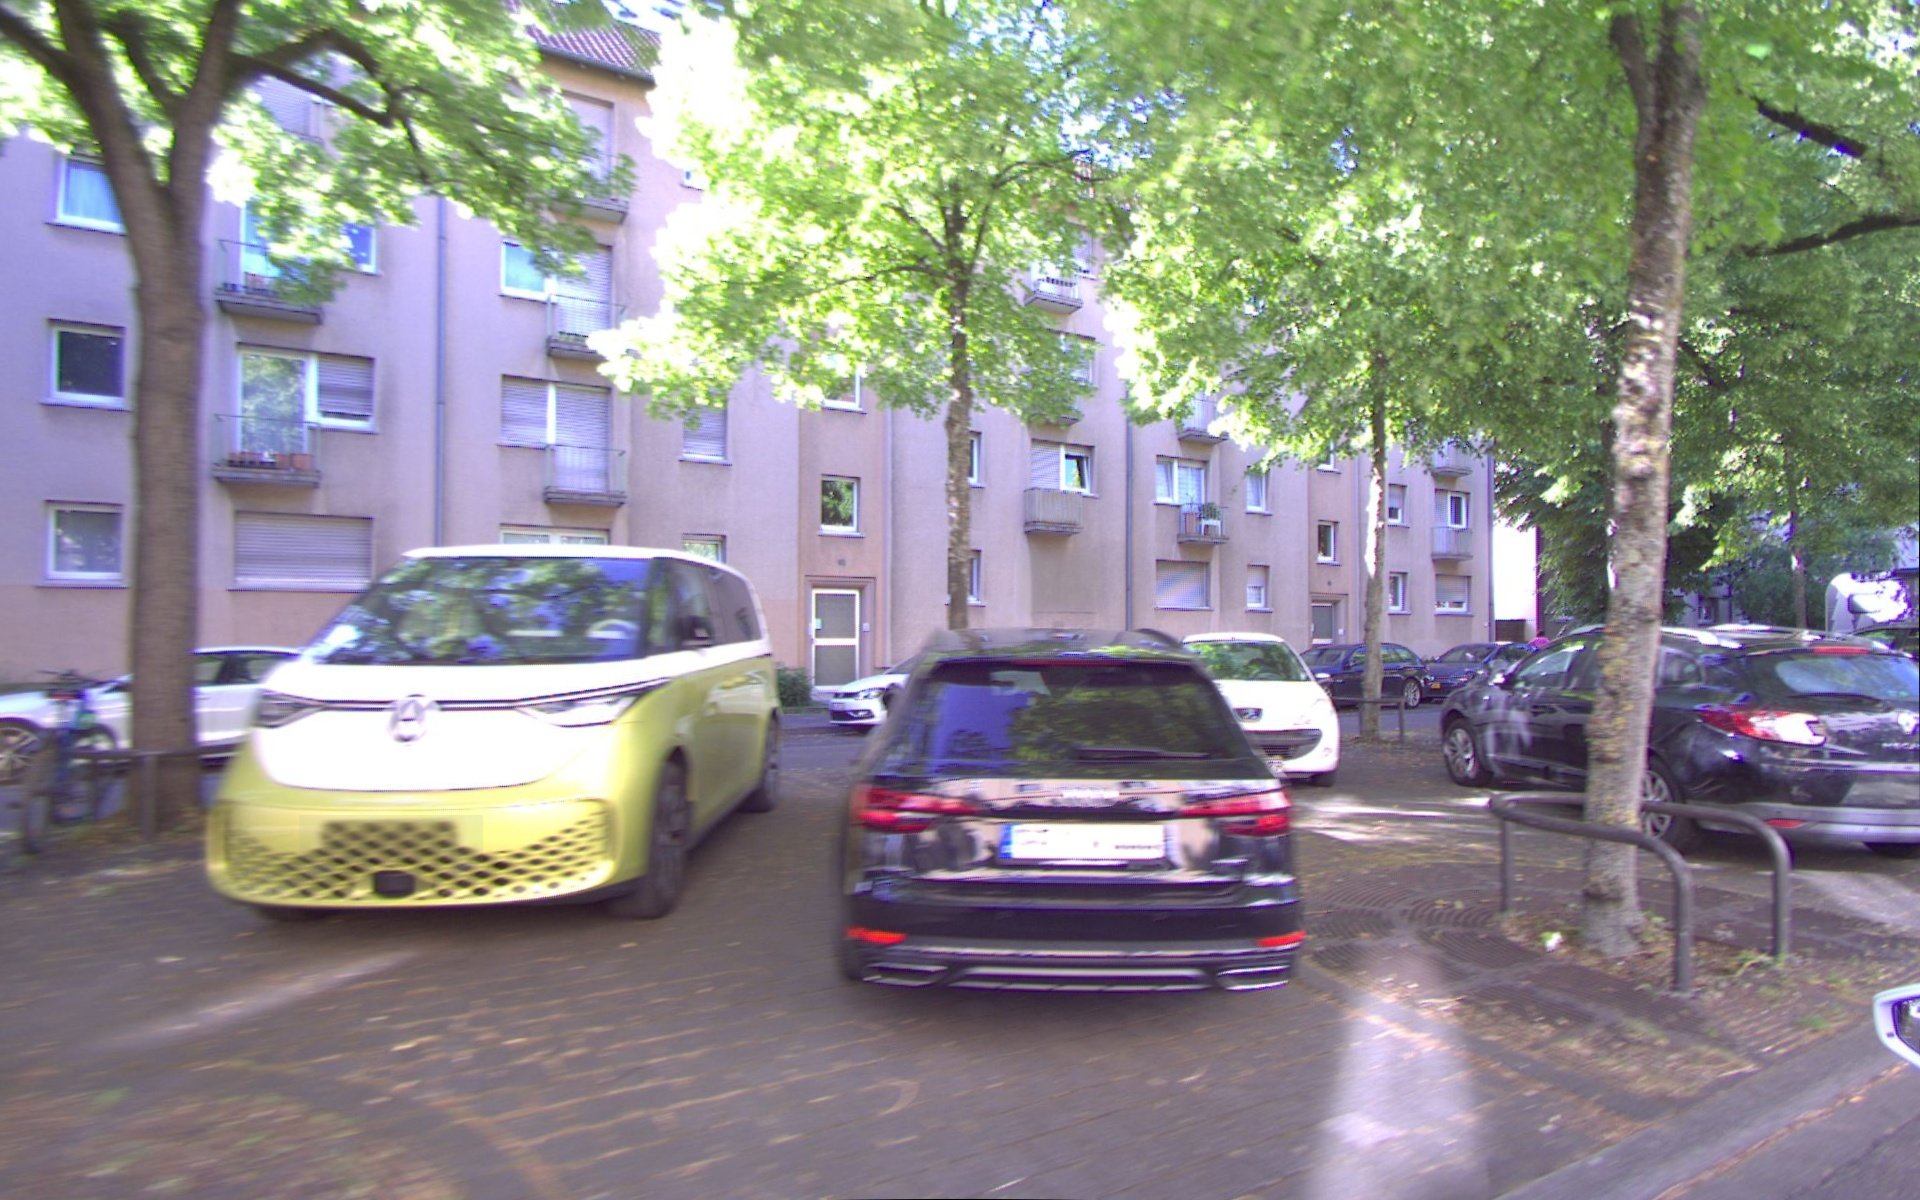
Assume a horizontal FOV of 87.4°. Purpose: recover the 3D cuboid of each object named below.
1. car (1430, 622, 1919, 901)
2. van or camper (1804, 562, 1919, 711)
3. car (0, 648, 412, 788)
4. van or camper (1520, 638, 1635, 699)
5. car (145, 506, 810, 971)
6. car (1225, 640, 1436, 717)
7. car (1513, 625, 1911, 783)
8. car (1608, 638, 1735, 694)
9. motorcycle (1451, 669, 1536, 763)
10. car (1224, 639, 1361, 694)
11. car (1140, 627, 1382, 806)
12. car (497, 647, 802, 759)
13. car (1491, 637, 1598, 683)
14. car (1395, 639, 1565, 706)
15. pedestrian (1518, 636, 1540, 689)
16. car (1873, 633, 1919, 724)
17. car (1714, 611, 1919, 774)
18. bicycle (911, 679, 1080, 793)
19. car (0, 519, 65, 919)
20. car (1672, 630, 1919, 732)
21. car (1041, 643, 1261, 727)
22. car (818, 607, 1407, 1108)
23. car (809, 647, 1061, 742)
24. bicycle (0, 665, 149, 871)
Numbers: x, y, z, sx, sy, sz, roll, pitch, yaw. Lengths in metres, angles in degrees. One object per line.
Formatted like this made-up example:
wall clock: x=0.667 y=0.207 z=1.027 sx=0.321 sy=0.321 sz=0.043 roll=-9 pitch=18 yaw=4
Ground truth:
car: x=5.347 y=0.937 z=7.599 sx=1.682 sy=1.481 sz=4.426 roll=1 pitch=-2 yaw=3
van or camper: x=20.320 y=0.681 z=19.052 sx=2.269 sy=2.968 sz=7.248 roll=0 pitch=-2 yaw=-3
car: x=-9.097 y=1.290 z=11.823 sx=4.566 sy=1.411 sz=1.719 roll=1 pitch=-3 yaw=-32
van or camper: x=16.899 y=1.842 z=27.488 sx=2.665 sy=1.575 sz=1.589 roll=1 pitch=-2 yaw=-30
car: x=-2.280 y=0.657 z=6.366 sx=1.979 sy=1.856 sz=4.607 roll=1 pitch=-2 yaw=0
car: x=8.188 y=1.659 z=22.137 sx=4.480 sy=1.528 sz=1.984 roll=1 pitch=-2 yaw=-30
car: x=8.454 y=1.068 z=11.842 sx=1.787 sy=1.421 sz=4.044 roll=1 pitch=0 yaw=3
car: x=20.896 y=1.895 z=29.489 sx=3.725 sy=1.519 sz=1.656 roll=1 pitch=-2 yaw=-30
motorcycle: x=6.393 y=1.352 z=12.117 sx=0.676 sy=0.969 sz=1.919 roll=0 pitch=-2 yaw=21
car: x=9.111 y=1.782 z=27.485 sx=3.569 sy=1.405 sz=1.617 roll=1 pitch=-2 yaw=-30
car: x=2.836 y=1.027 z=10.247 sx=1.781 sy=1.474 sz=3.636 roll=0 pitch=-2 yaw=7
car: x=-4.504 y=1.405 z=14.684 sx=3.953 sy=1.405 sz=1.883 roll=1 pitch=-3 yaw=-30
car: x=20.085 y=2.029 z=34.491 sx=3.569 sy=1.501 sz=1.617 roll=1 pitch=-2 yaw=-30
car: x=12.945 y=1.742 z=24.966 sx=4.258 sy=1.528 sz=1.755 roll=1 pitch=-2 yaw=-30
pedestrian: x=20.352 y=2.227 z=35.919 sx=0.457 sy=1.850 sz=0.497 roll=1 pitch=-2 yaw=-30
car: x=17.070 y=1.283 z=15.802 sx=1.723 sy=1.527 sz=4.000 roll=0 pitch=-2 yaw=-1
car: x=10.841 y=0.988 z=11.186 sx=1.725 sy=1.701 sz=4.147 roll=0 pitch=-2 yaw=-1
bicycle: x=0.379 y=1.291 z=9.805 sx=1.750 sy=0.953 sz=0.433 roll=1 pitch=0 yaw=-36
car: x=-5.396 y=0.508 z=2.741 sx=2.041 sy=1.889 sz=4.521 roll=1 pitch=-1 yaw=-4
car: x=13.999 y=1.289 z=16.866 sx=1.722 sy=1.527 sz=3.546 roll=0 pitch=-2 yaw=4
car: x=3.728 y=1.568 z=19.486 sx=3.953 sy=1.436 sz=1.883 roll=1 pitch=-2 yaw=-30
car: x=0.536 y=0.832 z=5.261 sx=1.752 sy=1.474 sz=4.491 roll=0 pitch=-2 yaw=2
car: x=-0.402 y=1.537 z=17.264 sx=3.953 sy=1.405 sz=1.883 roll=1 pitch=-2 yaw=-30
bicycle: x=-5.978 y=1.038 z=6.763 sx=0.513 sy=1.151 sz=1.929 roll=1 pitch=-2 yaw=-31
